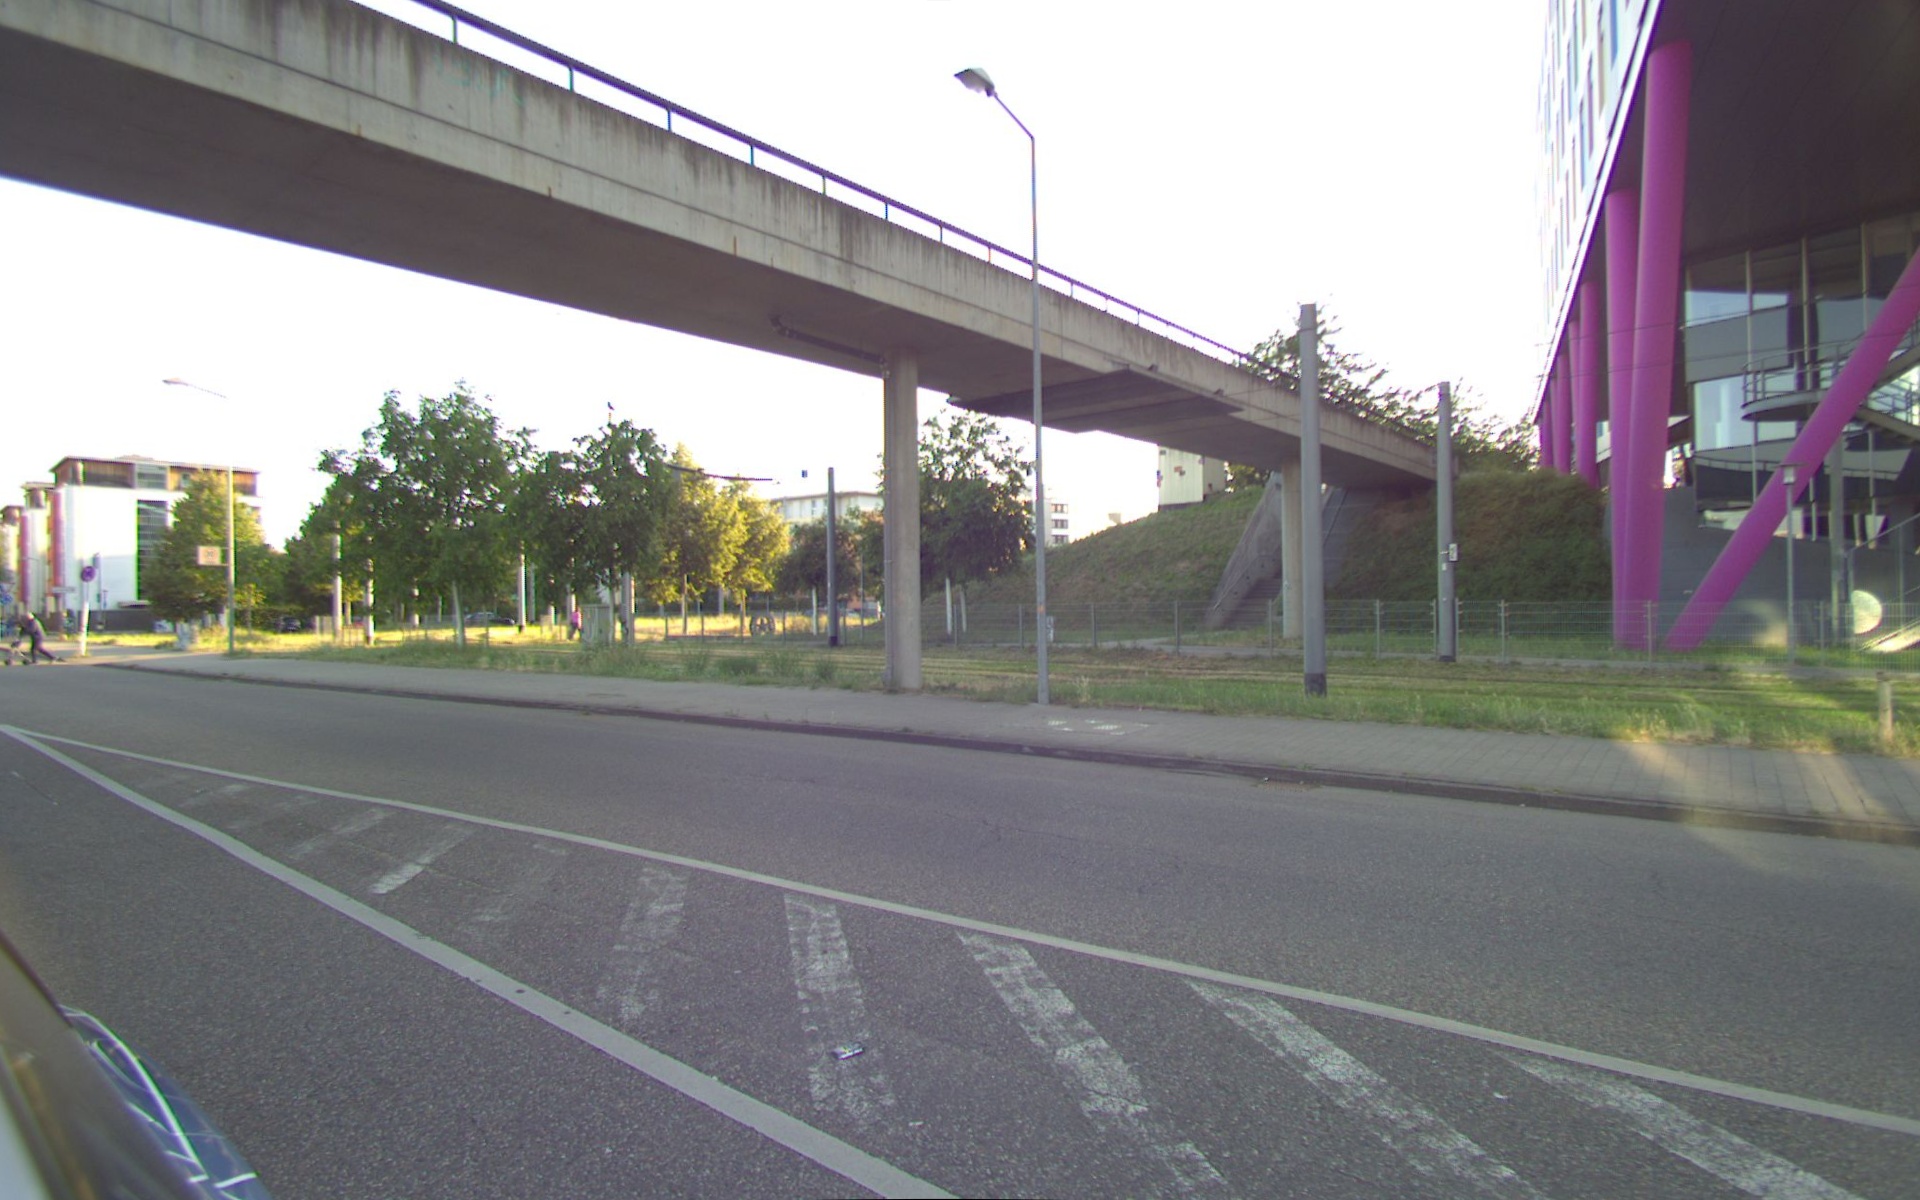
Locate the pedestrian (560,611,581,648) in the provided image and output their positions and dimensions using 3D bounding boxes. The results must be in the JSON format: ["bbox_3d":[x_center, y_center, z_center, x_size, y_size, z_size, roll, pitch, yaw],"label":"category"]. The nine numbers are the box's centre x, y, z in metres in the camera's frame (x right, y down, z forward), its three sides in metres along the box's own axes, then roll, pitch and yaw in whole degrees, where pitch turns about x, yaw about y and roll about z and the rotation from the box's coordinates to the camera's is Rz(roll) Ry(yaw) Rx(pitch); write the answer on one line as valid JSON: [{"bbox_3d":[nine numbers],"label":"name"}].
[{"bbox_3d":[-17.245,1.297,44.755,0.767,1.623,0.417,0,-1,-38],"label":"pedestrian"}]

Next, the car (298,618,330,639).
[{"bbox_3d":[-55.792,2.464,87.381,1.843,1.734,3.851,0,-1,-40],"label":"car"}]

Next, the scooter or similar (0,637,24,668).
[{"bbox_3d":[-29.027,1.603,30.950,0.545,0.902,0.723,1,-1,-41],"label":"scooter or similar"}]

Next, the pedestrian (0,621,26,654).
[{"bbox_3d":[-58.475,2.305,62.294,1.072,2.029,1.143,0,0,-21],"label":"pedestrian"}]

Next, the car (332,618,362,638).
[{"bbox_3d":[-53.993,2.447,89.107,1.842,1.734,3.853,0,-1,-38],"label":"car"}]

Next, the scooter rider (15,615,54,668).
[{"bbox_3d":[-28.624,1.273,31.310,0.884,1.589,0.713,0,-1,-41],"label":"scooter rider"}]

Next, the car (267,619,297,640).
[{"bbox_3d":[-57.526,2.487,85.858,1.842,1.734,3.853,0,-1,-38],"label":"car"}]

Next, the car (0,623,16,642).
[{"bbox_3d":[-81.179,2.749,83.719,1.839,1.571,4.330,-1,0,42],"label":"car"}]
